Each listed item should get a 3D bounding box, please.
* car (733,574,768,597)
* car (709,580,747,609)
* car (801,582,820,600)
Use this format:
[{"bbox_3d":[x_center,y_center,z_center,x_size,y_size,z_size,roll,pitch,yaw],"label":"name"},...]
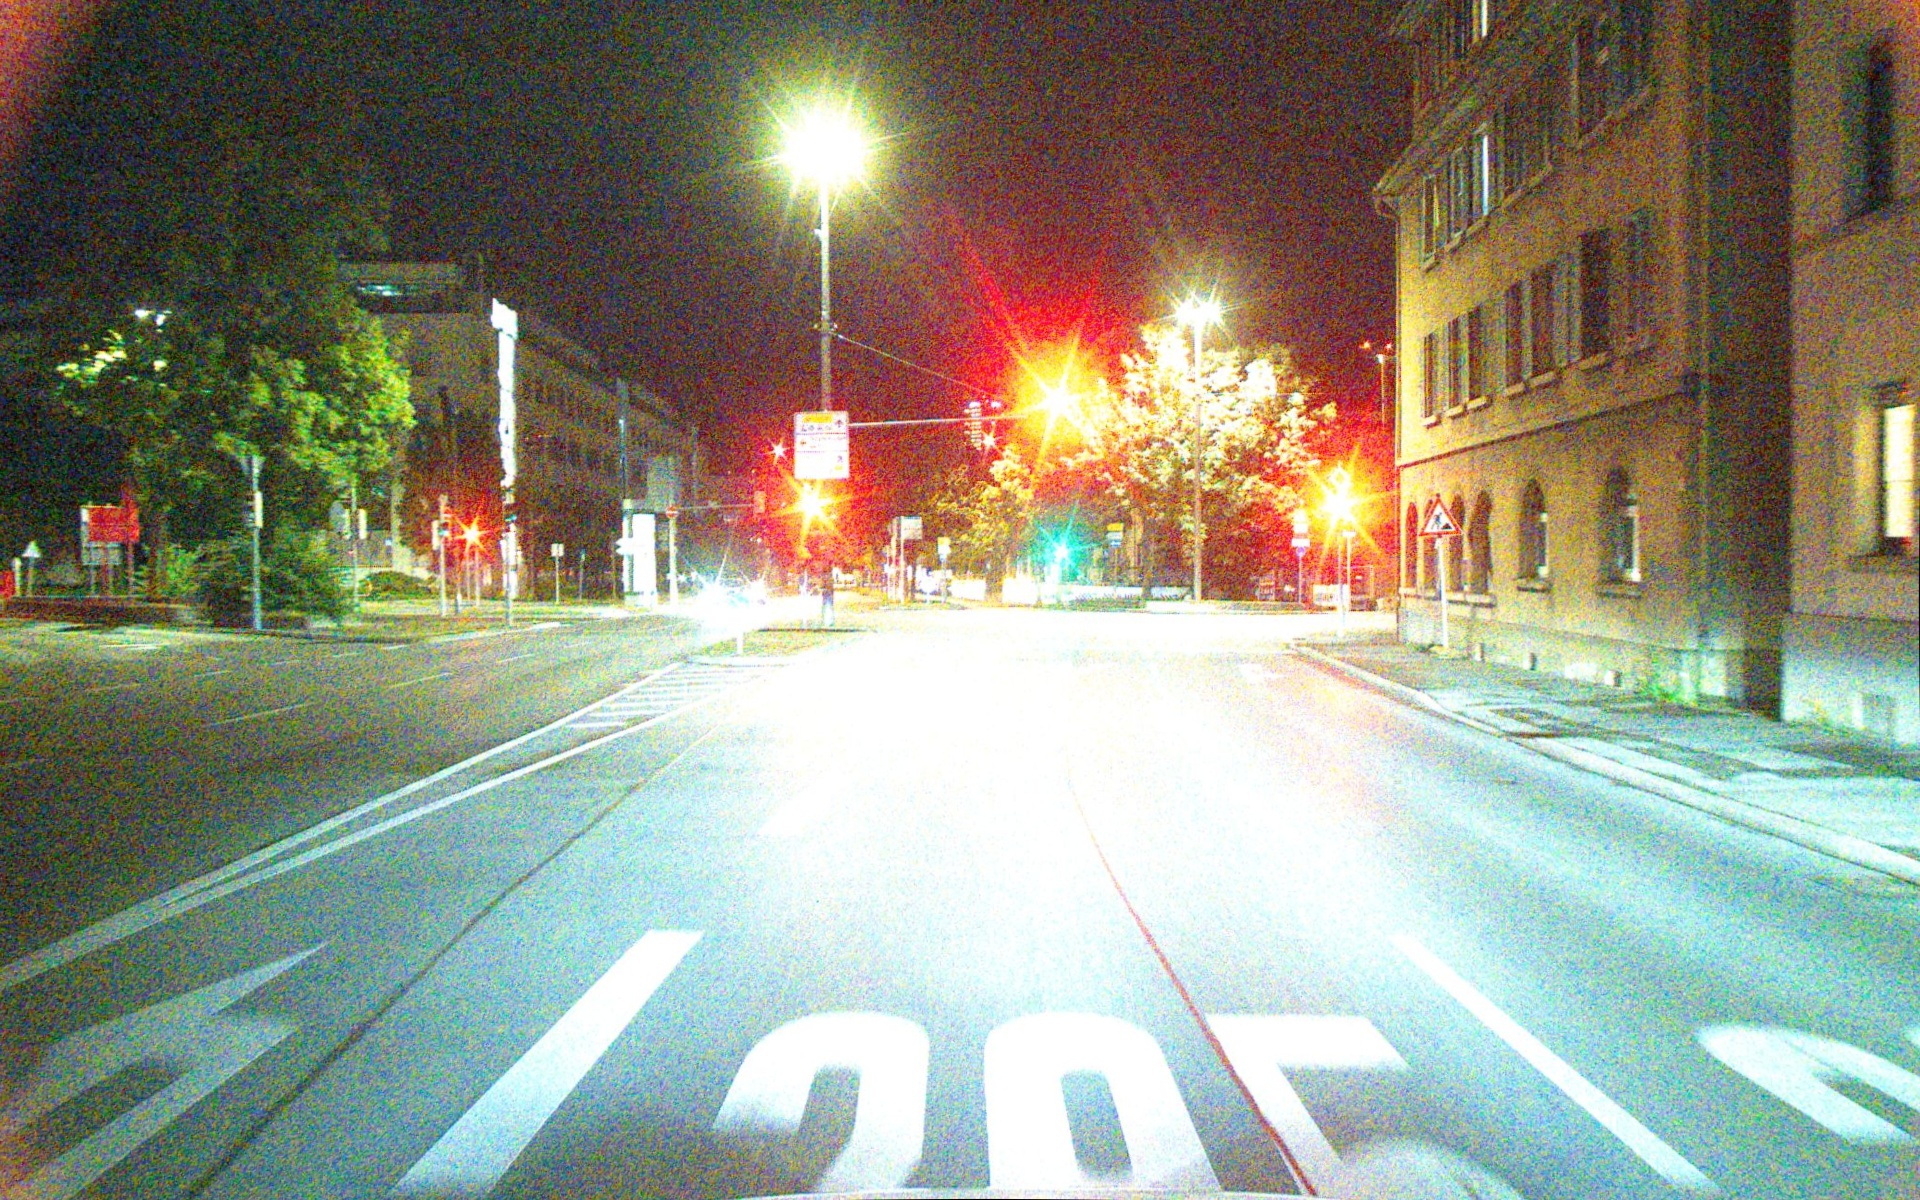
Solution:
[{"bbox_3d":[-12.461,-0.834,98.565,1.722,1.345,3.546,0,0,-2],"label":"car"},{"bbox_3d":[-12.499,-0.291,89.448,1.583,1.541,3.999,0,0,-1],"label":"car"},{"bbox_3d":[-15.238,-0.917,169.071,1.722,1.758,3.546,0,0,-2],"label":"car"}]
